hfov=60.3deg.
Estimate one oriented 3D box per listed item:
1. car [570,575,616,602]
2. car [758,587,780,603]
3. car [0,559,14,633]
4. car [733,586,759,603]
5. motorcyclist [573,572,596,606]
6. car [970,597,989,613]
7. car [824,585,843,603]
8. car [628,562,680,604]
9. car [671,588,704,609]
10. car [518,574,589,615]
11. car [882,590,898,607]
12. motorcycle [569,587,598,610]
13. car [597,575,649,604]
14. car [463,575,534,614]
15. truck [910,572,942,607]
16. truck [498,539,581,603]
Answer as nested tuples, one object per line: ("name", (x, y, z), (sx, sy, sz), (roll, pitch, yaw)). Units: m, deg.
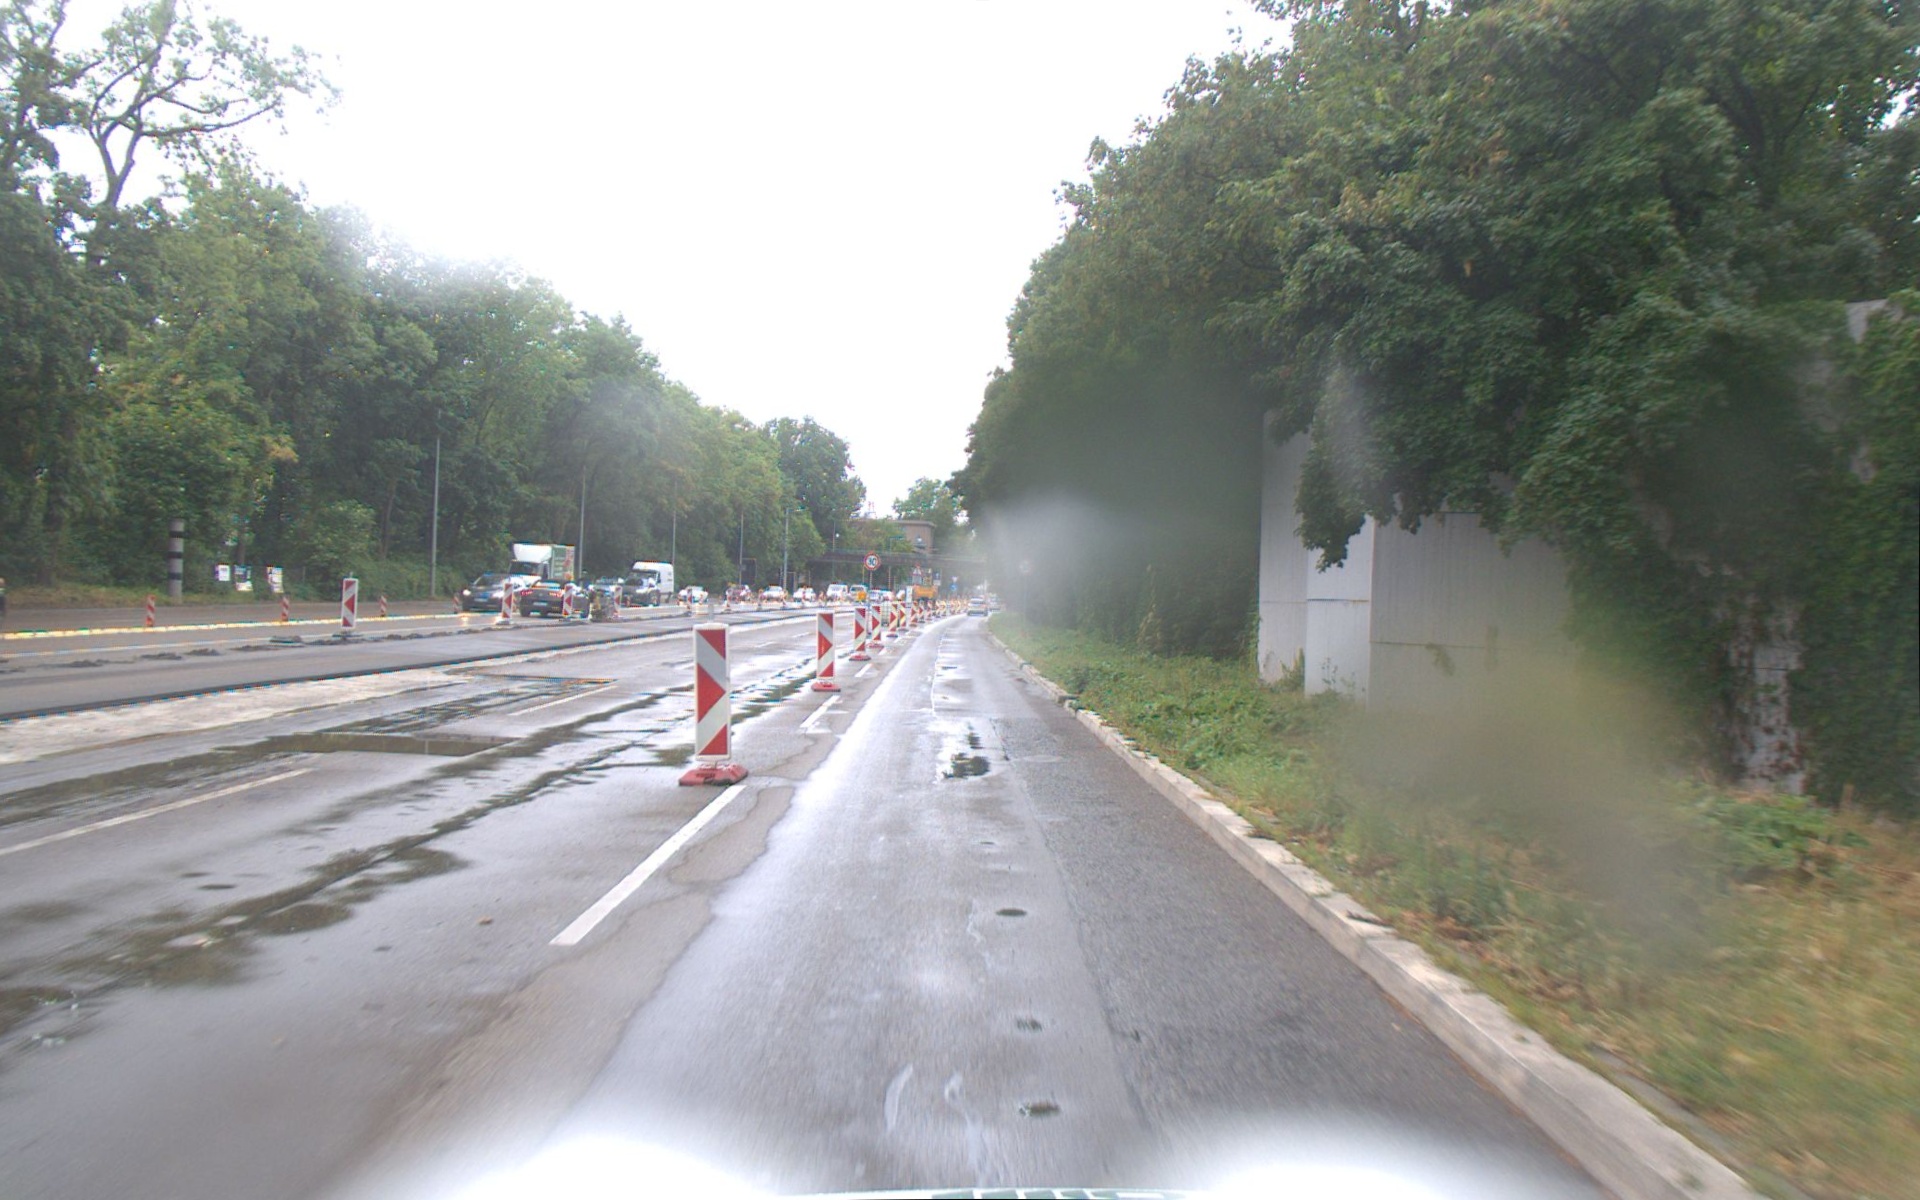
("car", (-21.300, -0.661, 96.124), (1.635, 1.511, 4.320), (2, 0, 1))
("car", (-18.878, -0.495, 163.745), (1.635, 1.511, 4.050), (2, 0, 1))
("car", (-18.354, -0.085, 28.990), (1.419, 1.355, 3.859), (2, 0, -3))
("car", (-18.940, -0.496, 146.550), (1.635, 1.511, 4.320), (2, 0, 1))
("motorcyclist", (-17.814, -0.524, 78.479), (0.811, 1.592, 0.926), (3, 0, -1))
("car", (1.731, 0.451, 147.271), (1.662, 1.359, 3.491), (0, 0, 1))
("car", (-13.684, -0.670, 178.565), (1.635, 1.840, 4.320), (2, 0, 1))
("car", (-20.221, -1.125, 109.643), (2.056, 2.624, 6.854), (2, 0, 1))
("car", (-20.522, -0.152, 124.572), (1.635, 1.511, 4.320), (2, 0, 1))
("car", (-15.222, -0.206, 62.051), (1.574, 1.429, 4.041), (2, 0, 1))
("car", (-8.587, -0.213, 202.069), (1.635, 1.840, 4.321), (2, 1, 1))
("motorcycle", (-17.841, -0.056, 78.484), (0.811, 1.032, 2.366), (3, 0, -1))
("car", (-18.898, -0.592, 92.914), (1.919, 1.557, 4.437), (2, 0, 1))
("car", (-18.161, -0.228, 65.218), (1.636, 1.440, 4.319), (2, 0, -1))
("truck", (-3.648, -1.109, 179.706), (3.193, 3.558, 13.869), (2, 0, 0))
("truck", (-21.064, -1.428, 83.213), (2.200, 2.991, 6.935), (2, 0, 1))
